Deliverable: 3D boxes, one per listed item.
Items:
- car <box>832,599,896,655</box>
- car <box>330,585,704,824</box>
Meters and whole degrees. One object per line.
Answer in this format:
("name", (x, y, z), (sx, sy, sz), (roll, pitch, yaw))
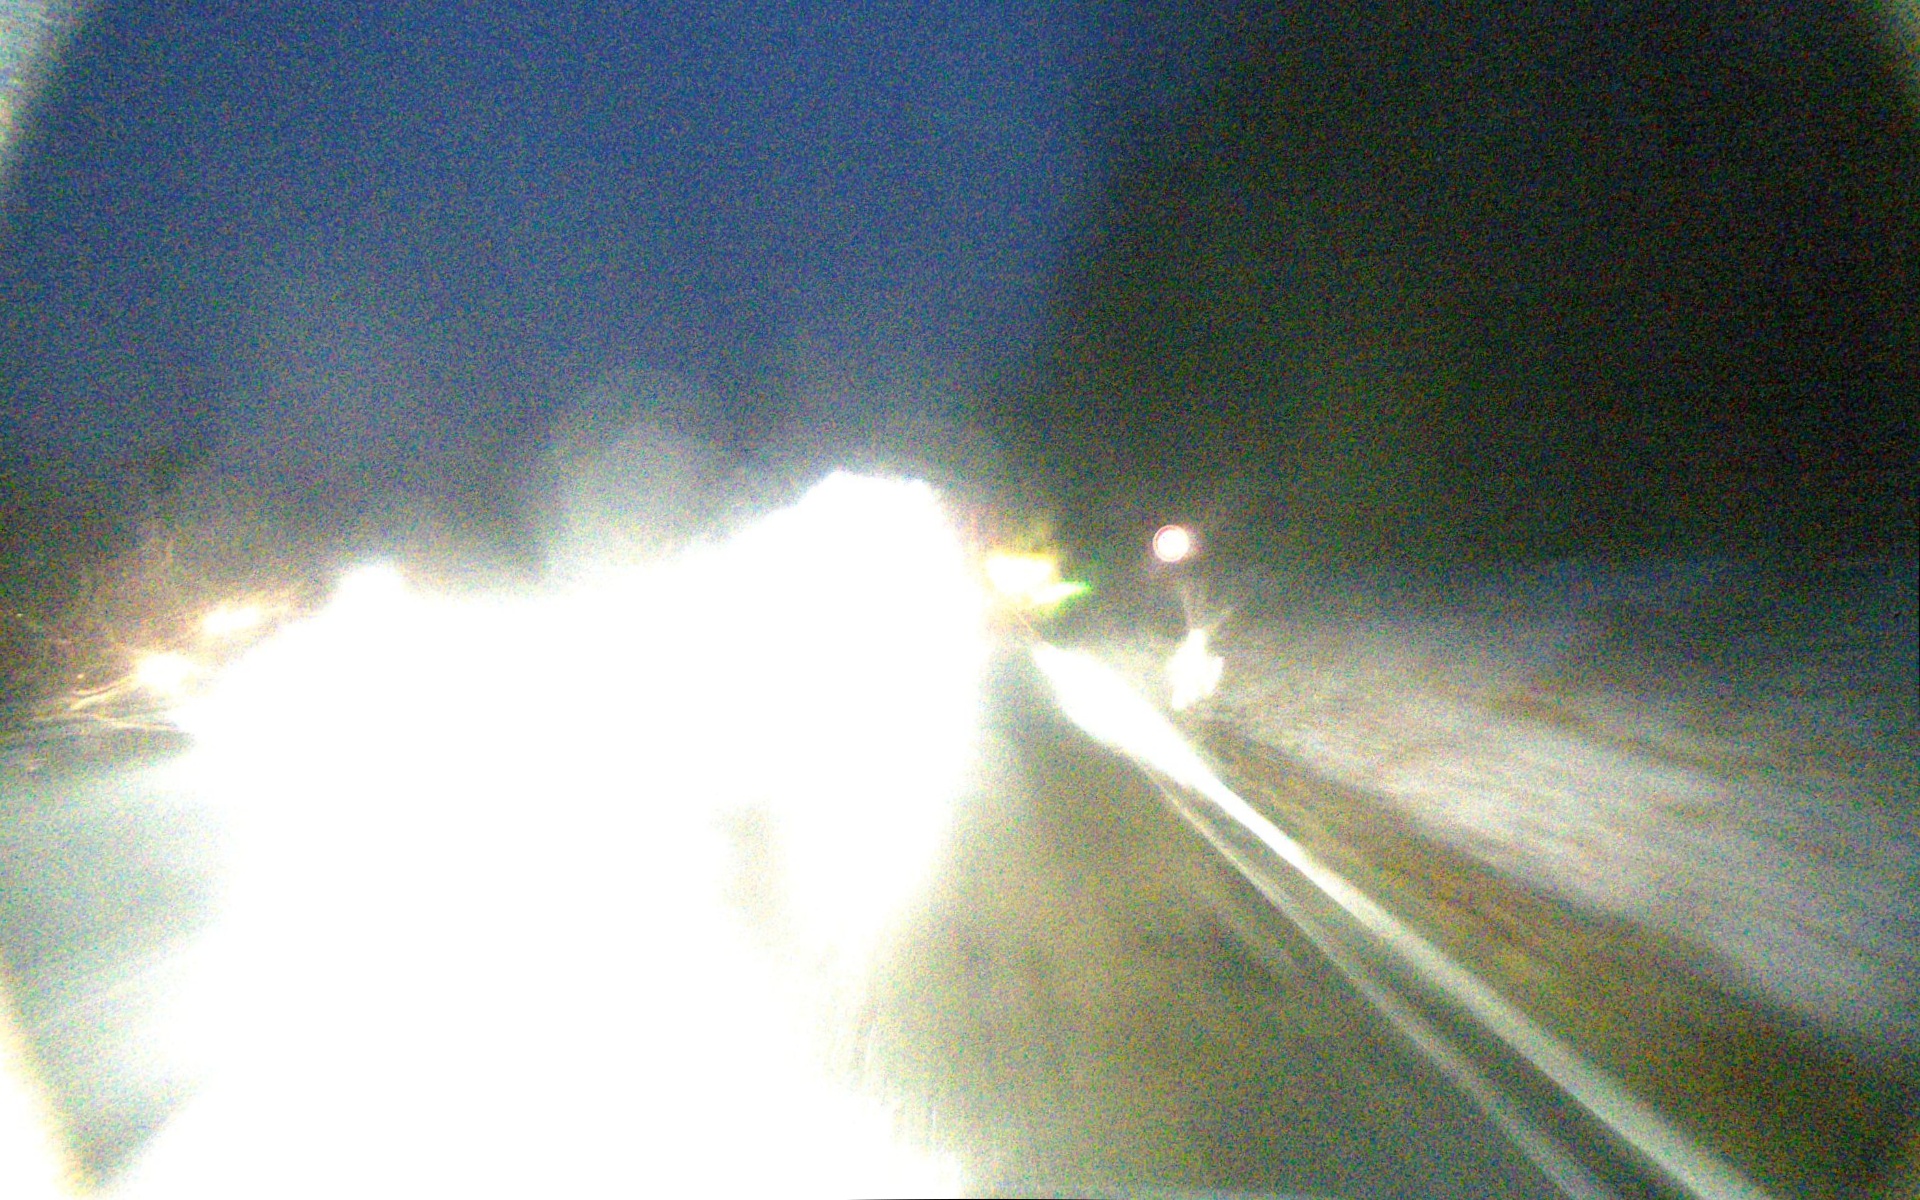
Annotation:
("car", (-3.059, 0.825, 53.526), (1.744, 1.696, 4.472), (0, 0, 1))
("car", (-2.973, 0.617, 11.920), (1.704, 1.427, 3.860), (0, 0, -1))
